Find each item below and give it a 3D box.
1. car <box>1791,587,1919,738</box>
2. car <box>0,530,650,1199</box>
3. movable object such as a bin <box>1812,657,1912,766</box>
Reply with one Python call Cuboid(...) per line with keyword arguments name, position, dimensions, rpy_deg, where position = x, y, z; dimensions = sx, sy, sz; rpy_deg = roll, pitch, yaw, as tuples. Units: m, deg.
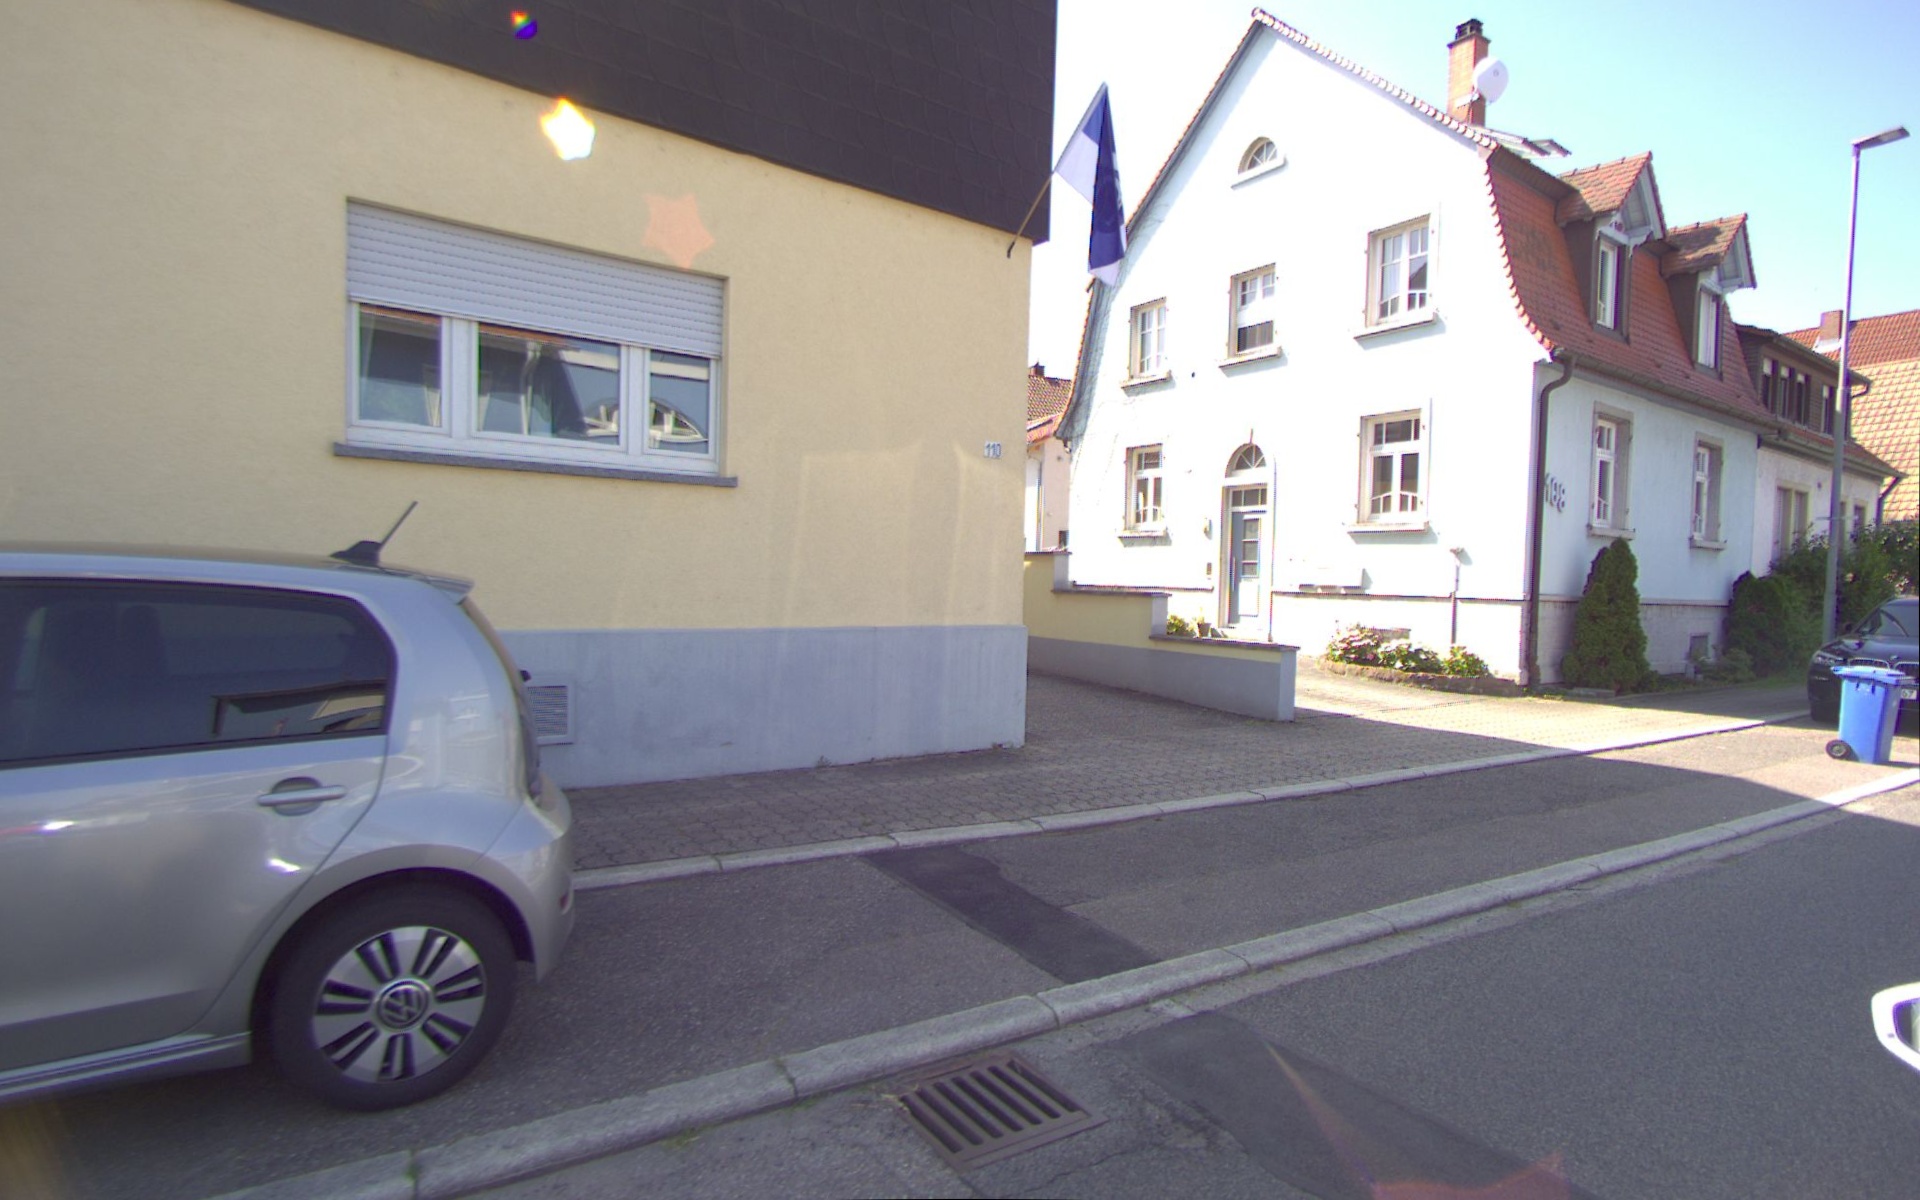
Cuboid(name="car", position=(12.951, 0.787, 13.167), dimensions=(4.618, 1.690, 1.907), rpy_deg=(1, 3, -35))
Cuboid(name="car", position=(-2.917, 0.577, 2.591), dimensions=(3.739, 1.521, 1.631), rpy_deg=(1, 3, -32))
Cuboid(name="movable object such as a bin", position=(9.080, 1.100, 10.116), dimensions=(0.526, 0.995, 0.592), rpy_deg=(1, 3, -35))
